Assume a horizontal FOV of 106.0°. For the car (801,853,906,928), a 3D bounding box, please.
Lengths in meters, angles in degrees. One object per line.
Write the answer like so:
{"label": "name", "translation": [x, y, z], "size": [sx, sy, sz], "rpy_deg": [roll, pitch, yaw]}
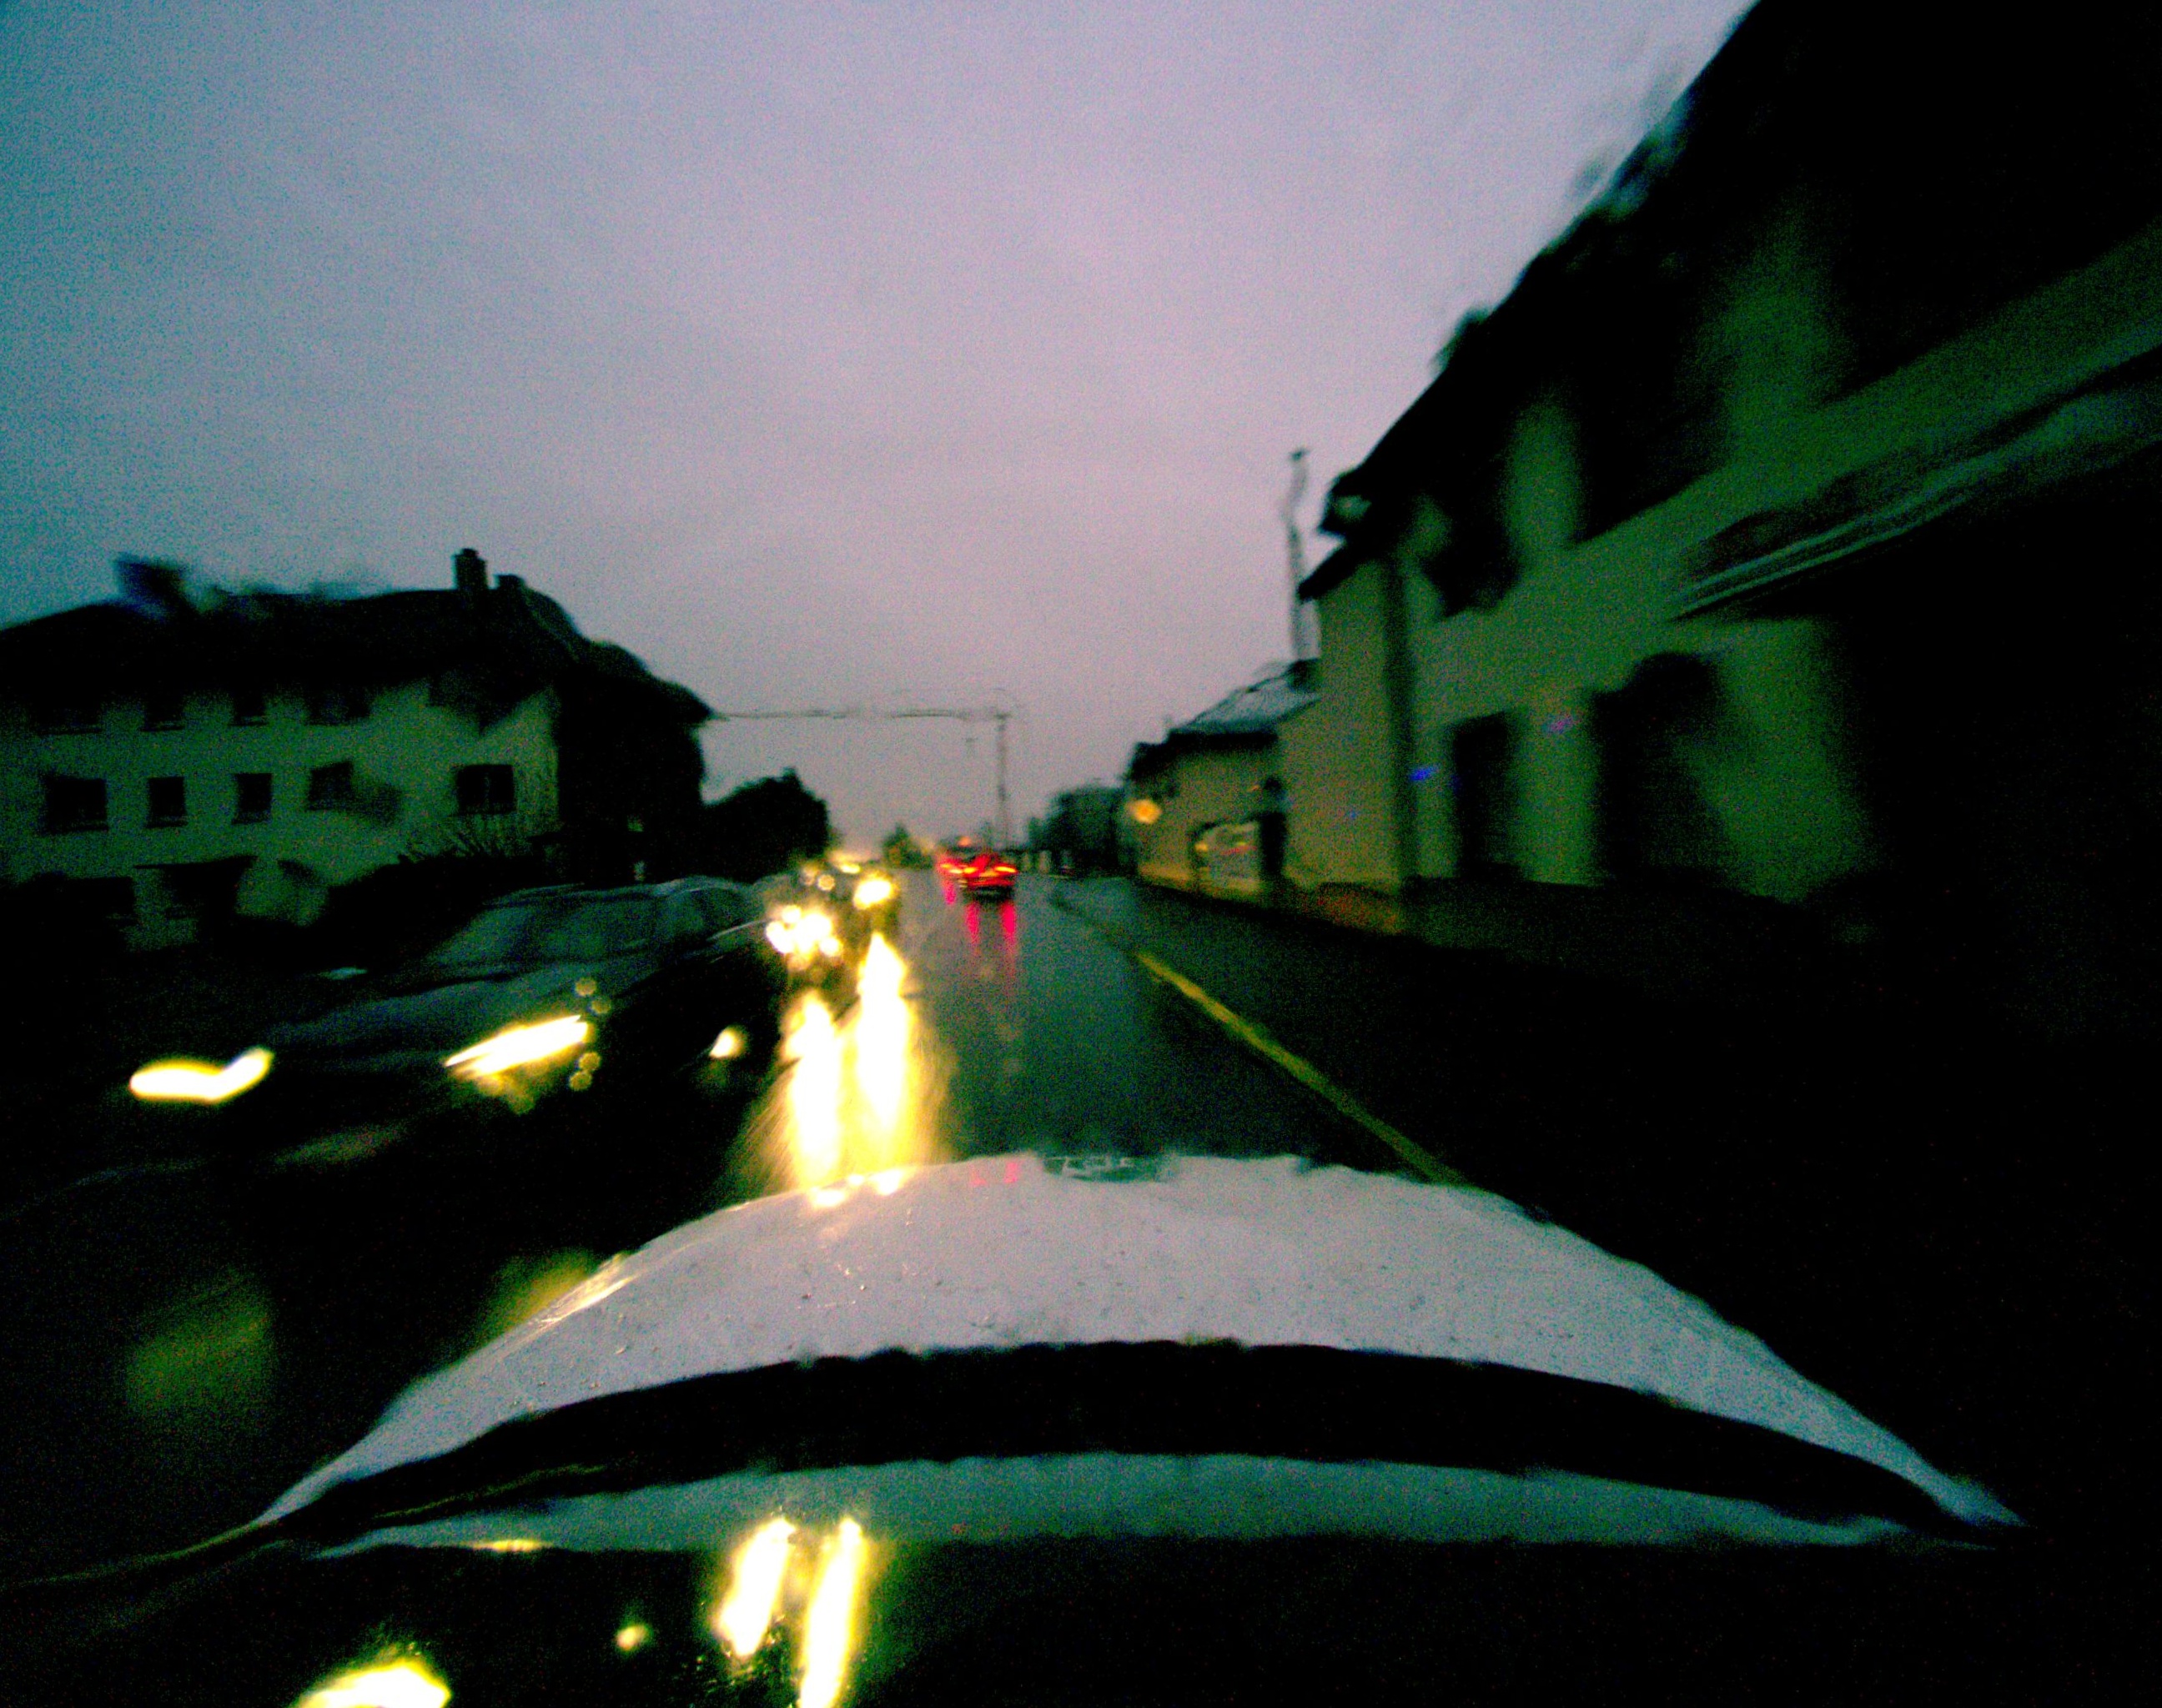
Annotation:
{"label": "car", "translation": [-5.636, 0.828, 20.734], "size": [1.874, 1.585, 4.279], "rpy_deg": [-4, 1, -7]}

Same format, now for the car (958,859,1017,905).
{"label": "car", "translation": [-3.708, 1.055, 31.966], "size": [2.046, 1.573, 4.690], "rpy_deg": [-3, -1, -8]}

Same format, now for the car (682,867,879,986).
{"label": "car", "translation": [-4.440, 0.979, 12.780], "size": [1.823, 1.373, 4.277], "rpy_deg": [-3, 0, -6]}

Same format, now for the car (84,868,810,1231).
{"label": "car", "translation": [-3.561, 0.900, 5.913], "size": [1.876, 1.394, 4.517], "rpy_deg": [-3, 0, -4]}

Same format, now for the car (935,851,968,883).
{"label": "car", "translation": [-8.470, 0.825, 53.351], "size": [1.993, 1.881, 3.987], "rpy_deg": [-3, 0, -9]}
